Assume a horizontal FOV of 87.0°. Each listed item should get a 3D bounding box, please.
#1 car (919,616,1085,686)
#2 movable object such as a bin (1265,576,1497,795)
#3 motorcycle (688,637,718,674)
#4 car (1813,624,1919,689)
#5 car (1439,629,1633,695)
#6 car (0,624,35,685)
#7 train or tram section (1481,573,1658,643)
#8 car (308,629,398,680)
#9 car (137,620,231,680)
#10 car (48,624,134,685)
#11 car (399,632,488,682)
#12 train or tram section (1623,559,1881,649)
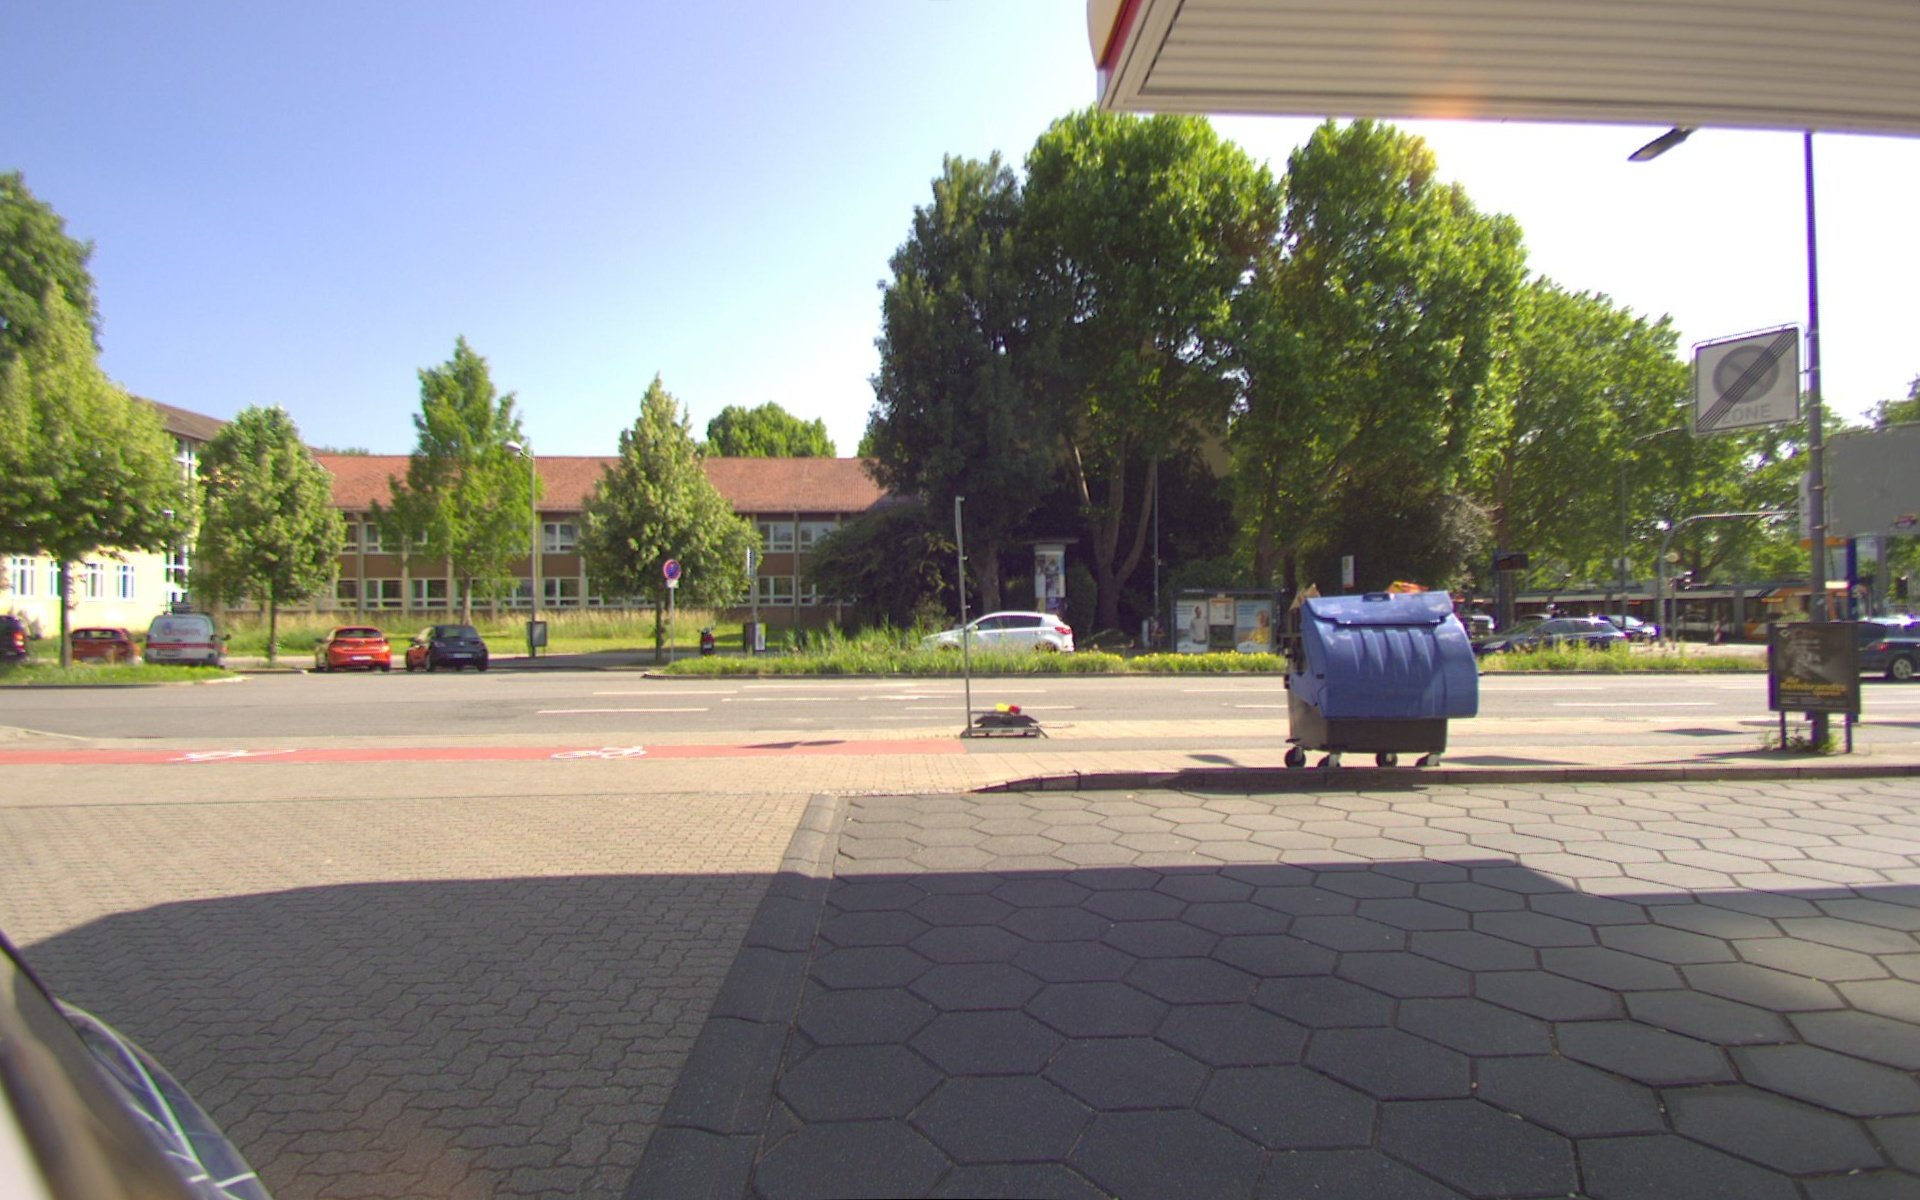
[{"bbox_3d":[1.081,1.365,27.841,4.325,1.782,2.001,0,-1,-3],"label":"car"},{"bbox_3d":[3.489,0.706,8.590,1.318,1.701,1.343,0,-4,-2],"label":"movable object such as a bin"},{"bbox_3d":[-8.106,1.736,31.890,0.548,1.122,1.764,0,-2,-26],"label":"motorcycle"},{"bbox_3d":[22.401,1.277,23.430,3.942,1.377,1.686,0,0,-3],"label":"car"},{"bbox_3d":[16.344,1.740,28.912,4.331,1.782,1.999,0,-1,2],"label":"car"},{"bbox_3d":[-29.224,1.646,30.489,1.852,1.736,4.231,3,-5,-41],"label":"car"},{"bbox_3d":[43.879,0.759,74.021,2.293,4.524,15.938,0,-2,-4],"label":"train or tram section"},{"bbox_3d":[-19.070,1.720,31.718,1.851,1.471,4.234,3,-4,-38],"label":"car"},{"bbox_3d":[-24.034,1.561,31.489,1.849,1.736,4.238,2,-4,-32],"label":"car"},{"bbox_3d":[-26.879,1.692,31.295,1.852,1.736,4.231,3,-5,-41],"label":"car"},{"bbox_3d":[-16.342,1.790,31.918,1.714,1.471,4.234,2,-4,-38],"label":"car"},{"bbox_3d":[44.893,0.418,58.594,2.293,4.524,14.956,0,-2,-4],"label":"train or tram section"}]
